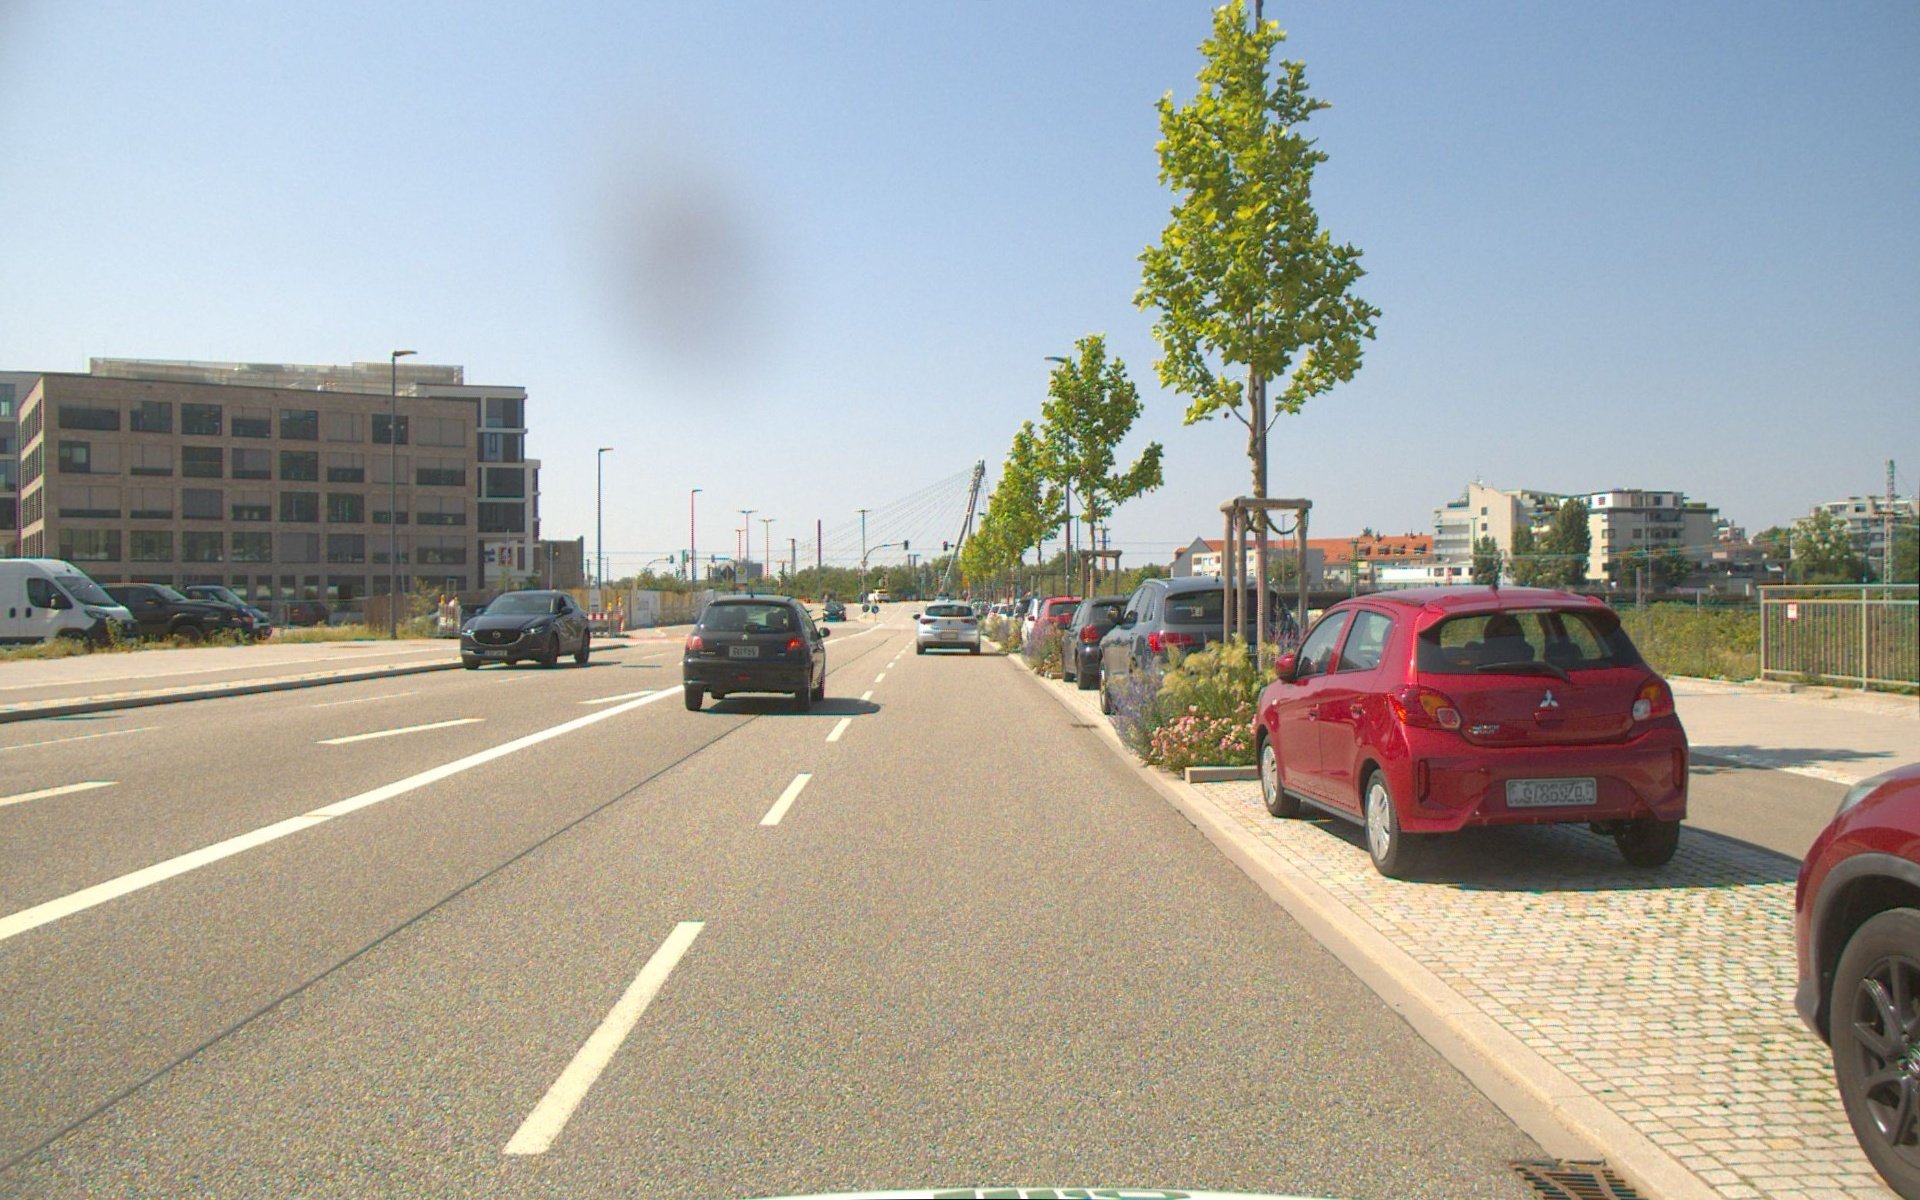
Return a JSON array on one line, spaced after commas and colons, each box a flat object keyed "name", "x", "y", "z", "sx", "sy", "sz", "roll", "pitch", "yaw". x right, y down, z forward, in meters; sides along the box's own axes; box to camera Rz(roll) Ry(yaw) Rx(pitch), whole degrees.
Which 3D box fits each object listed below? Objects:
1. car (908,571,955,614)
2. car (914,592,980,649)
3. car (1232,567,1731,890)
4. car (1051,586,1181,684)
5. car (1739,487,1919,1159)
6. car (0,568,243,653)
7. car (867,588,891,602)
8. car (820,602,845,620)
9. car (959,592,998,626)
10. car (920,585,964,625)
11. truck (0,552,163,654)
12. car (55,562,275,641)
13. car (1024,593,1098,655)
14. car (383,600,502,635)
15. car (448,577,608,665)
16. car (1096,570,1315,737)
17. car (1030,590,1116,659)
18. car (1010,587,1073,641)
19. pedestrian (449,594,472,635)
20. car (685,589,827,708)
[{"name": "car", "x": -1.209, "y": -0.304, "z": 71.691, "sx": 1.756, "sy": 1.780, "sz": 4.001, "roll": 2, "pitch": 0, "yaw": 3}, {"name": "car", "x": -0.325, "y": 0.536, "z": 46.081, "sx": 1.741, "sy": 1.467, "sz": 4.000, "roll": 1, "pitch": 0, "yaw": 1}, {"name": "car", "x": 2.880, "y": 0.619, "z": 10.014, "sx": 1.572, "sy": 1.517, "sz": 3.815, "roll": -2, "pitch": 0, "yaw": -4}, {"name": "car", "x": 2.521, "y": 0.517, "z": 27.599, "sx": 1.600, "sy": 1.454, "sz": 4.239, "roll": -2, "pitch": 1, "yaw": -2}, {"name": "car", "x": 3.273, "y": 0.558, "z": 2.713, "sx": 1.869, "sy": 1.645, "sz": 4.548, "roll": 0, "pitch": 1, "yaw": 0}, {"name": "car", "x": -23.224, "y": 0.260, "z": 45.671, "sx": 5.766, "sy": 2.203, "sz": 2.394, "roll": -1, "pitch": 1, "yaw": -4}, {"name": "car", "x": -10.113, "y": -0.681, "z": 206.195, "sx": 1.828, "sy": 1.678, "sz": 3.976, "roll": 1, "pitch": 0, "yaw": -20}, {"name": "car", "x": -9.879, "y": 0.861, "z": 128.609, "sx": 1.669, "sy": 1.376, "sz": 4.455, "roll": -1, "pitch": 0, "yaw": -1}, {"name": "car", "x": 0.876, "y": 0.392, "z": 76.318, "sx": 1.710, "sy": 1.535, "sz": 4.002, "roll": 1, "pitch": 0, "yaw": 1}, {"name": "car", "x": -0.720, "y": 0.234, "z": 69.551, "sx": 1.741, "sy": 1.596, "sz": 4.000, "roll": 1, "pitch": -1, "yaw": 1}, {"name": "truck", "x": -22.854, "y": 0.087, "z": 40.558, "sx": 5.455, "sy": 2.404, "sz": 2.274, "roll": -1, "pitch": 0, "yaw": -3}, {"name": "car", "x": -23.506, "y": 0.036, "z": 49.120, "sx": 5.336, "sy": 2.211, "sz": 2.393, "roll": -1, "pitch": 0, "yaw": -5}, {"name": "car", "x": 2.651, "y": 0.609, "z": 44.181, "sx": 1.682, "sy": 1.551, "sz": 3.642, "roll": 1, "pitch": 0, "yaw": -1}, {"name": "car", "x": -20.916, "y": 0.697, "z": 66.880, "sx": 4.201, "sy": 1.341, "sz": 1.974, "roll": -1, "pitch": 0, "yaw": -36}, {"name": "car", "x": -8.754, "y": 0.391, "z": 33.902, "sx": 1.862, "sy": 1.656, "sz": 4.389, "roll": -1, "pitch": 0, "yaw": 4}, {"name": "car", "x": 2.673, "y": 0.534, "z": 18.914, "sx": 1.699, "sy": 1.636, "sz": 4.239, "roll": -2, "pitch": 0, "yaw": -2}, {"name": "car", "x": 2.630, "y": 0.552, "z": 39.340, "sx": 1.682, "sy": 1.476, "sz": 4.000, "roll": 1, "pitch": 1, "yaw": -1}, {"name": "car", "x": 2.538, "y": 0.435, "z": 52.034, "sx": 1.869, "sy": 1.605, "sz": 4.159, "roll": 0, "pitch": 0, "yaw": 2}, {"name": "pedestrian", "x": -20.840, "y": 0.605, "z": 69.007, "sx": 0.671, "sy": 1.713, "sz": 0.756, "roll": 1, "pitch": -1, "yaw": 3}, {"name": "car", "x": -2.634, "y": 0.580, "z": 22.034, "sx": 1.587, "sy": 1.441, "sz": 3.725, "roll": 1, "pitch": 0, "yaw": -3}]
